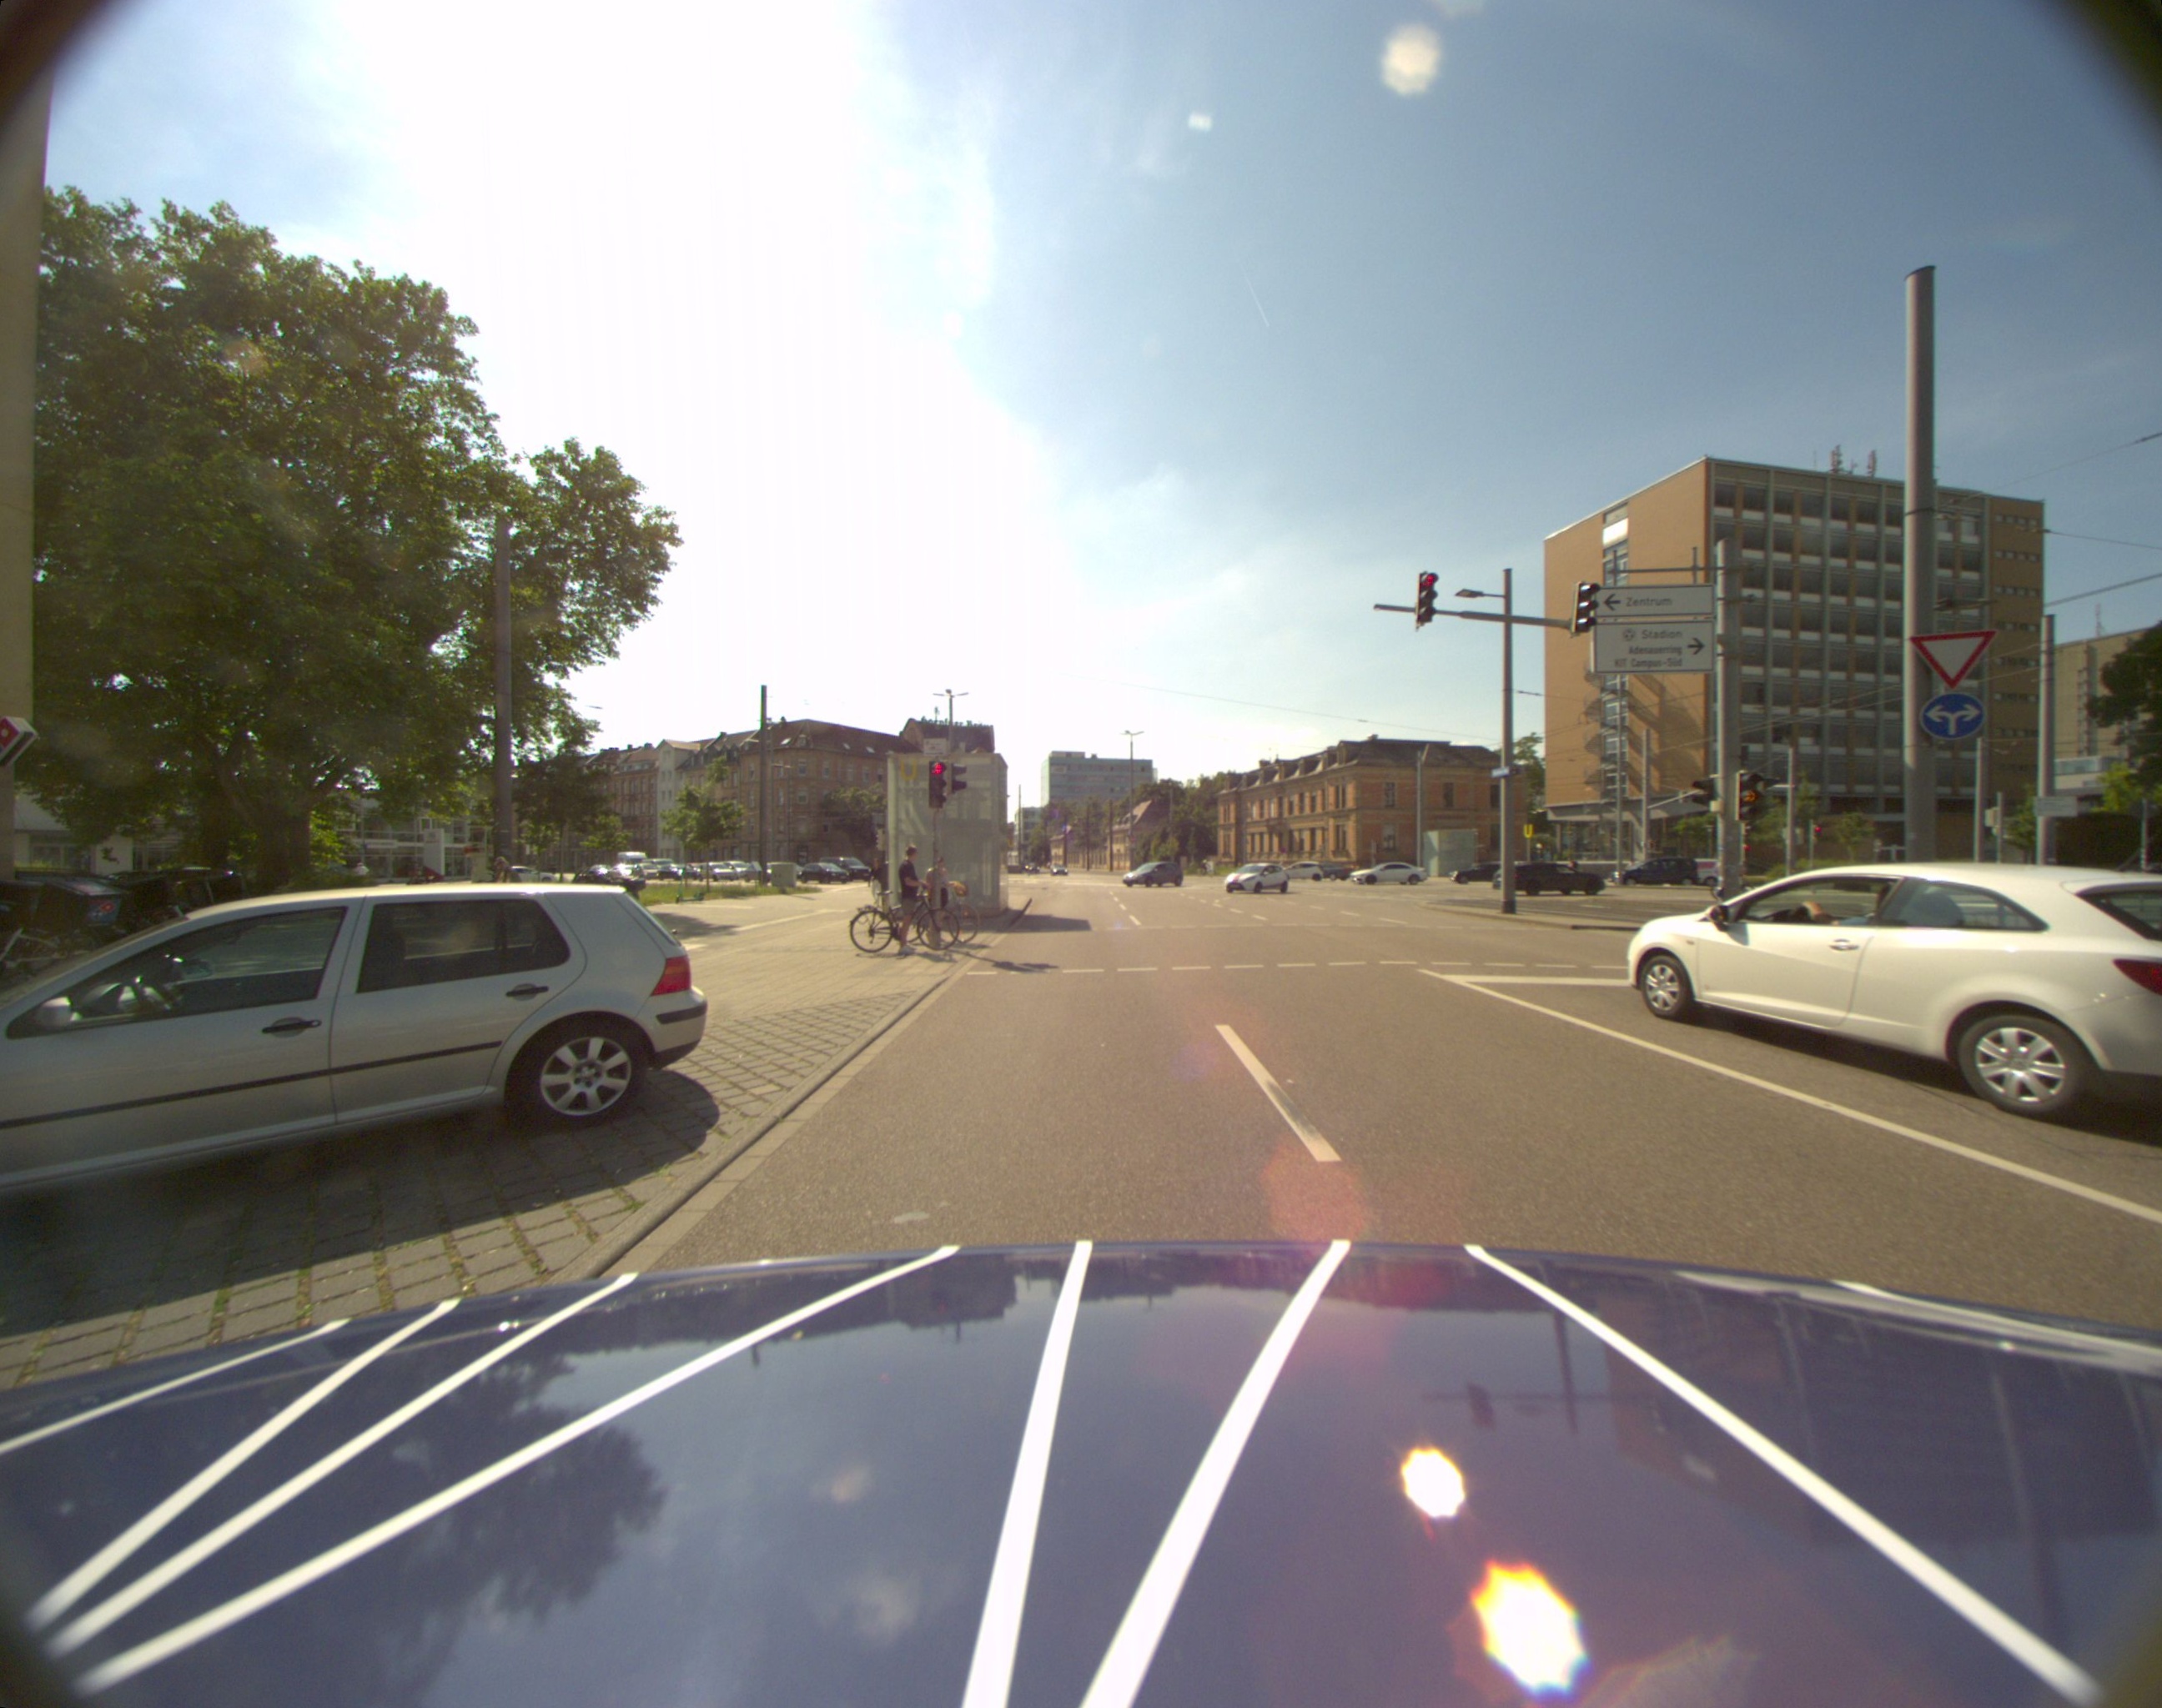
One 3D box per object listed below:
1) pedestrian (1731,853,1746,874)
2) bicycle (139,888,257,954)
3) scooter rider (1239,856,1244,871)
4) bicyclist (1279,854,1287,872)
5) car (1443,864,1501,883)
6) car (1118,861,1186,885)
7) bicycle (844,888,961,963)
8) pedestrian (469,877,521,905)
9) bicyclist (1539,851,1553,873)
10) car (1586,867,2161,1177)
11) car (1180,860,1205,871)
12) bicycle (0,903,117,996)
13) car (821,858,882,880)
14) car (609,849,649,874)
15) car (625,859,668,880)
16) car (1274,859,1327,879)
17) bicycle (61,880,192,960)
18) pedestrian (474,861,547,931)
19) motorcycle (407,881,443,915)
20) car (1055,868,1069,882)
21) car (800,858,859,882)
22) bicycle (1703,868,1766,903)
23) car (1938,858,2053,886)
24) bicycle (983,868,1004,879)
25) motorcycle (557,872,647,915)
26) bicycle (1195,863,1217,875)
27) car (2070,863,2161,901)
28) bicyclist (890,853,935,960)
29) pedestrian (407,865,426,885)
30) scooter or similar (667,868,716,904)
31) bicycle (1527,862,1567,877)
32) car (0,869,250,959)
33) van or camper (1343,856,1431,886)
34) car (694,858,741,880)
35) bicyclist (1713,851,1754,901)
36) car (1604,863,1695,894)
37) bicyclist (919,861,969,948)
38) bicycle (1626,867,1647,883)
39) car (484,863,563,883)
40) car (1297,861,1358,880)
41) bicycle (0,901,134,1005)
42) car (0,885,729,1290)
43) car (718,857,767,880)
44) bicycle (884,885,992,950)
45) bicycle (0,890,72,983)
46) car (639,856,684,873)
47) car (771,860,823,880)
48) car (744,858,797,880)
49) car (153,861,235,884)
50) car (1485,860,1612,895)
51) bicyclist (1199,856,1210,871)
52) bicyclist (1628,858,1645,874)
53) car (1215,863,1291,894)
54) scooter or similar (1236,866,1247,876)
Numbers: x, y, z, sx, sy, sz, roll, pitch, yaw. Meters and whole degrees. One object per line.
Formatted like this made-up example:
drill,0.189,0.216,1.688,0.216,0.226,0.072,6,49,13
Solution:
pedestrian,51.943,0.725,60.013,0.730,1.654,0.594,-1,1,17
bicycle,-15.890,1.189,13.675,1.754,1.079,0.584,1,1,11
scooter rider,15.578,0.946,73.930,0.406,1.388,0.589,-1,-2,18
bicyclist,18.770,0.860,70.563,0.648,1.611,0.503,0,-2,23
car,27.943,1.369,54.335,3.572,1.287,1.412,0,0,22
car,4.349,1.195,46.188,4.129,1.415,1.647,2,-3,-37
bicycle,-2.909,1.155,12.506,1.796,1.124,0.583,-1,1,-6
pedestrian,-19.442,1.227,25.215,0.822,0.887,1.176,0,0,-1
bicyclist,34.706,0.596,56.757,0.780,1.615,0.670,0,1,41
car,5.906,0.858,5.466,1.758,1.390,4.125,3,0,1
car,13.449,1.425,91.783,1.673,1.305,3.448,0,0,-15
bicycle,-13.111,1.166,9.178,0.583,1.037,1.758,1,0,7
car,-17.571,1.101,58.072,4.702,1.578,1.971,0,0,35
car,-48.618,0.846,81.687,5.859,2.559,2.221,-3,-3,44
car,-40.161,1.436,70.232,4.189,1.835,1.816,-2,-1,35
car,16.627,1.092,57.512,3.751,1.466,1.685,0,0,22
bicycle,-15.566,1.058,12.398,1.754,1.212,0.584,1,1,11
pedestrian,-11.798,0.850,15.745,0.656,1.395,1.118,0,-1,1
motorcycle,-18.076,1.192,20.964,0.642,0.837,2.032,0,0,-38
car,-2.233,2.506,90.193,1.637,1.574,4.001,0,-2,-2
car,-18.072,1.142,54.574,4.199,1.578,1.902,-2,-1,35
bicycle,22.644,1.068,26.383,0.750,1.077,1.849,-1,2,7
car,54.229,1.075,45.136,3.992,1.608,1.913,0,0,14
bicycle,-8.490,1.892,73.637,2.015,1.009,0.718,-2,-3,35
motorcycle,-13.026,1.049,20.742,0.639,1.055,2.042,0,0,25
bicycle,12.167,1.473,74.112,2.021,1.062,0.686,-1,-2,21
car,54.267,1.427,38.750,4.421,1.871,2.002,0,0,13
bicyclist,-2.796,0.852,12.639,0.617,1.725,0.583,-1,1,-6
pedestrian,-53.662,1.713,61.367,0.533,1.570,0.958,-1,-2,15
scooter or similar,-12.503,1.011,24.418,0.516,1.113,1.367,0,0,28
bicycle,34.750,1.145,56.660,2.456,1.063,0.670,0,0,41
car,-18.929,1.094,14.431,1.658,1.462,4.094,-3,0,1
van or camper,19.549,1.054,48.692,4.917,1.876,1.921,0,0,4
car,-30.159,1.291,62.985,4.189,1.728,1.660,-2,-1,35
bicyclist,22.653,0.759,26.392,0.750,1.674,0.777,-1,2,7
car,34.029,1.429,45.642,3.991,1.783,1.968,0,0,21
bicyclist,-2.564,0.925,14.235,0.612,1.563,0.734,-1,1,18
bicycle,39.079,1.441,53.444,1.922,1.009,0.714,-3,2,-39
car,-41.883,1.454,57.189,1.440,1.427,4.610,-2,-3,32
car,20.113,1.324,62.168,4.515,1.427,1.639,0,0,45
bicycle,-12.516,1.161,8.859,0.583,1.079,1.758,3,1,13
car,-4.335,1.013,4.152,4.007,1.431,1.809,-3,0,-38
car,-29.466,1.278,66.139,4.189,1.905,1.904,-2,-1,35
bicycle,-2.626,1.147,14.007,1.793,1.124,0.755,-1,1,18
bicycle,-14.793,1.089,10.196,1.888,1.179,0.541,0,0,3
car,-41.575,1.037,75.236,5.014,1.670,2.197,-1,0,40
car,-23.162,1.292,62.002,3.989,1.578,1.904,-2,-1,32
car,-23.943,1.185,58.487,3.989,1.578,1.904,-2,-1,35
car,-57.909,1.241,49.619,3.992,1.477,2.003,-1,-2,16
car,20.364,1.004,33.267,4.416,1.447,1.761,0,0,10
bicyclist,12.069,0.967,74.140,0.907,1.411,0.686,-1,-2,22
bicyclist,39.086,0.832,53.448,0.918,1.023,0.714,-3,2,-39
car,8.348,1.158,36.687,3.871,1.405,1.651,0,0,-43
scooter or similar,15.607,1.659,73.899,0.990,0.970,0.589,-1,-2,17
